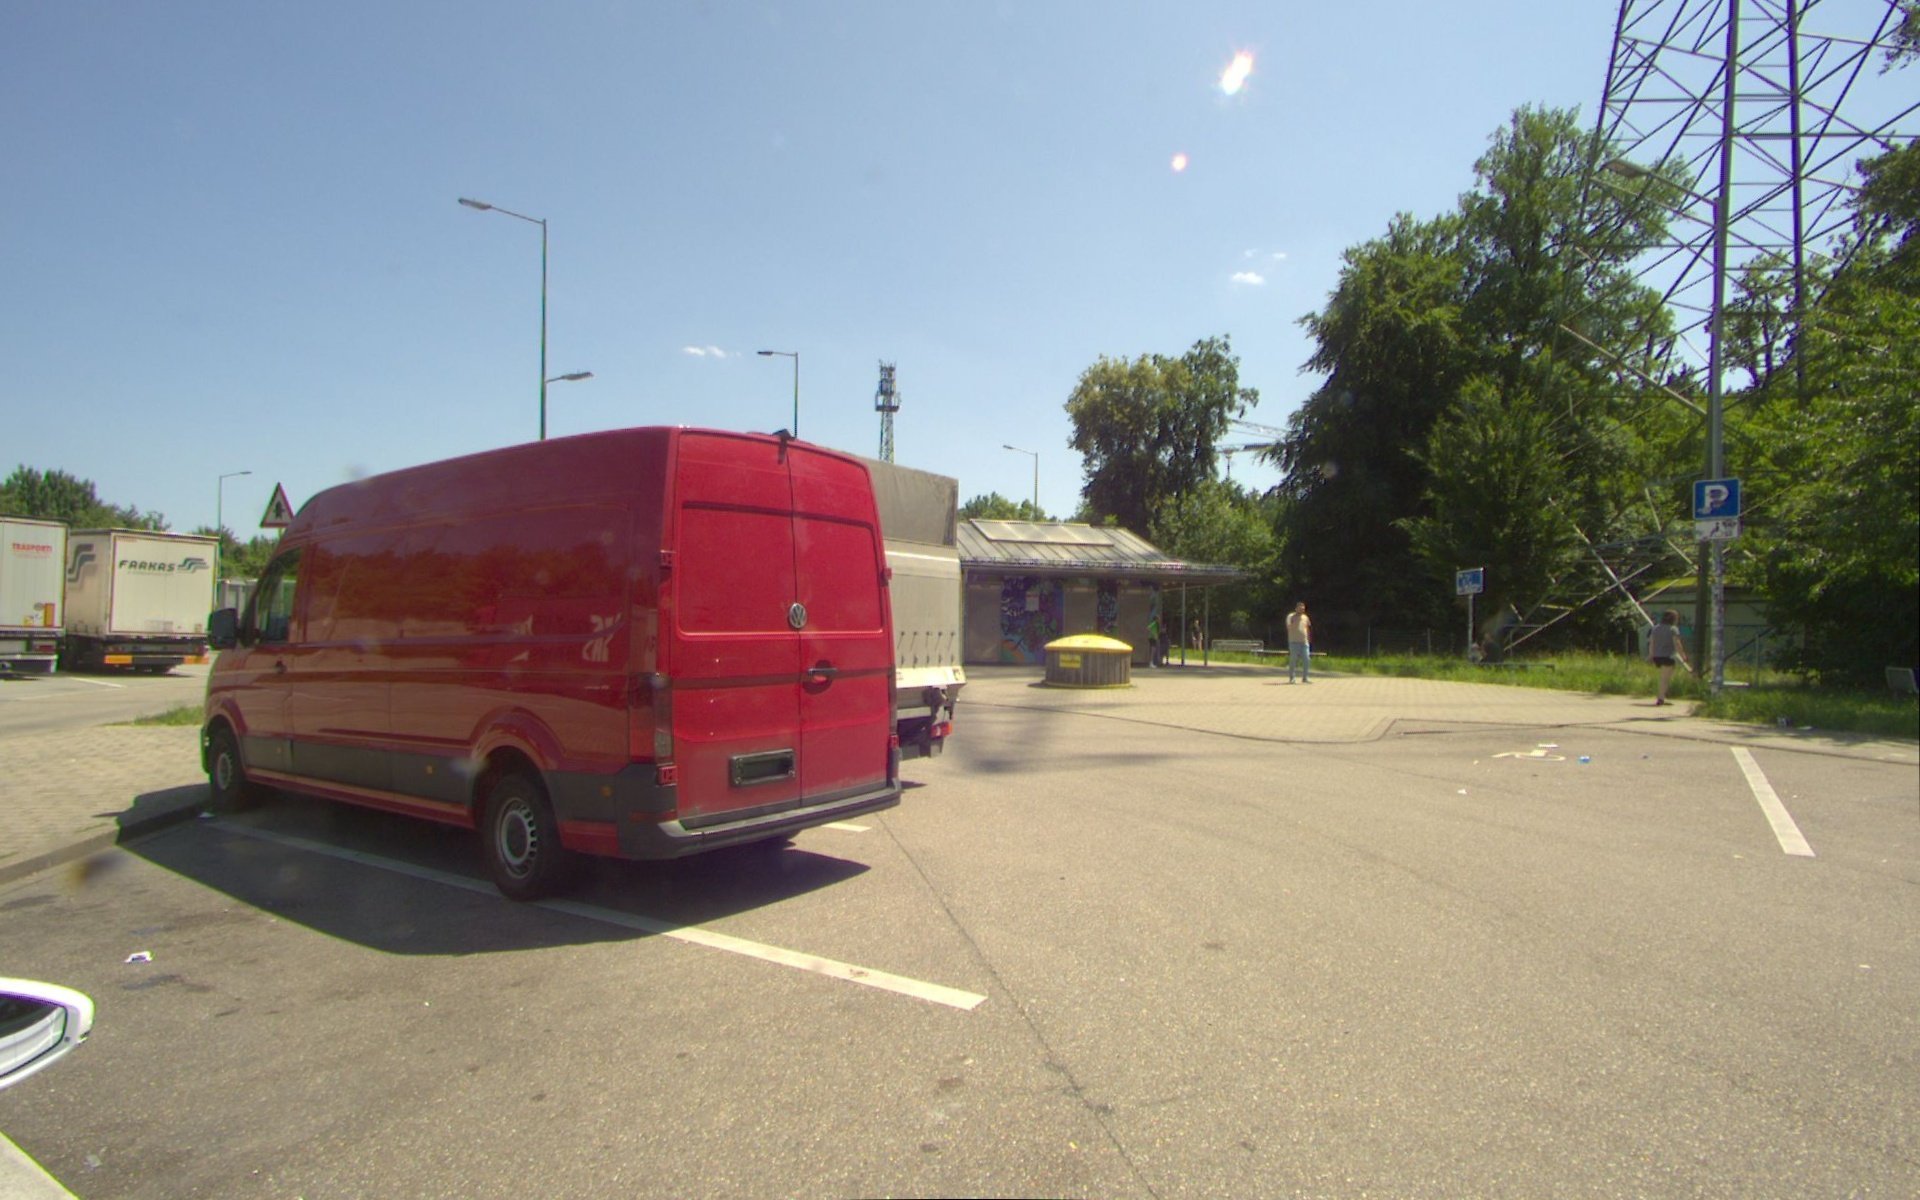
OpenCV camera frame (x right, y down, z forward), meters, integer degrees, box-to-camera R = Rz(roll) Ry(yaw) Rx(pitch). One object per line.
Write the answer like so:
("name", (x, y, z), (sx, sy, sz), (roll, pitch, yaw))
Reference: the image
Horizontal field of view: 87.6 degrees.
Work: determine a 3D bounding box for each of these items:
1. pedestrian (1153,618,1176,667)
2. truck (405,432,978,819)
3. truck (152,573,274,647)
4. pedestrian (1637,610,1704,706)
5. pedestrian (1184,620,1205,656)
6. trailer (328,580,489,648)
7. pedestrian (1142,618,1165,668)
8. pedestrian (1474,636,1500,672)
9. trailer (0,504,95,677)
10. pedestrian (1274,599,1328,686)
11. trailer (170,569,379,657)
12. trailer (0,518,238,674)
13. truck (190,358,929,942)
("pedestrian", (5.900, 1.232, 28.952), (0.532, 1.392, 0.583), (0, -1, 0))
("truck", (-3.083, 0.277, 10.516), (6.372, 2.944, 2.411), (-1, -2, 37))
("truck", (-37.546, 0.482, 50.316), (5.887, 3.406, 2.862), (1, -2, 32))
("pedestrian", (12.588, 1.025, 17.766), (0.701, 1.670, 0.688), (0, -1, 5))
("pedestrian", (10.690, 1.723, 45.657), (0.800, 1.639, 0.919), (-1, -1, 22))
("trailer", (-36.168, 0.855, 65.331), (13.561, 3.955, 2.854), (1, -2, 32))
("pedestrian", (5.417, 1.200, 28.040), (0.532, 1.392, 0.583), (0, -1, 0))
("pedestrian", (14.646, 1.502, 27.813), (0.439, 0.987, 0.460), (0, -1, -19))
("trailer", (-28.684, -0.337, 28.016), (13.561, 4.162, 2.854), (1, -2, 32))
("pedestrian", (7.779, 0.967, 22.865), (0.799, 1.929, 0.920), (0, -1, -15))
("trailer", (-32.474, 0.491, 47.093), (13.561, 3.646, 2.854), (1, -2, 32))
("trailer", (-27.611, -0.164, 31.603), (13.561, 4.162, 2.854), (1, -2, 32))
("truck", (-3.333, 0.305, 7.332), (6.372, 2.685, 2.005), (-1, -2, 37))
